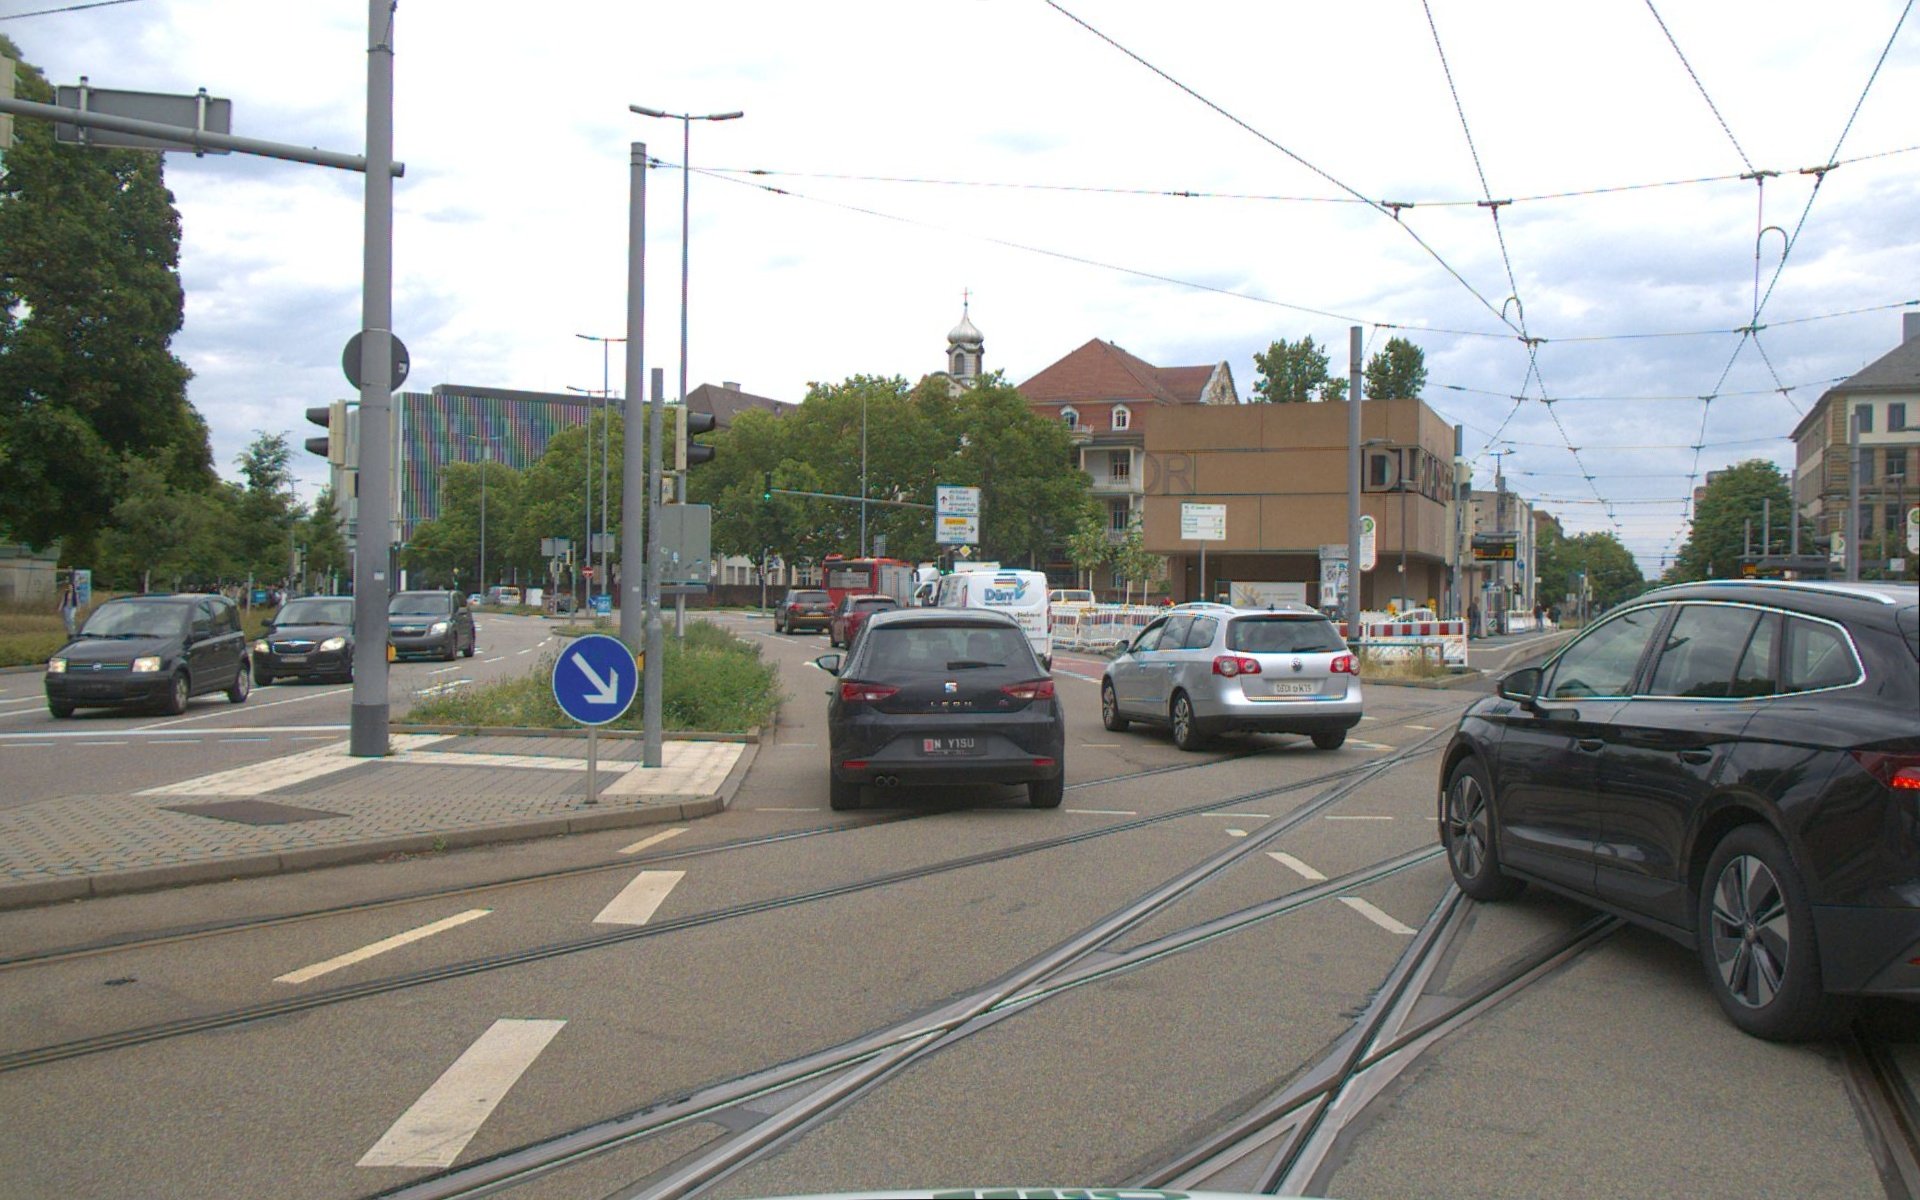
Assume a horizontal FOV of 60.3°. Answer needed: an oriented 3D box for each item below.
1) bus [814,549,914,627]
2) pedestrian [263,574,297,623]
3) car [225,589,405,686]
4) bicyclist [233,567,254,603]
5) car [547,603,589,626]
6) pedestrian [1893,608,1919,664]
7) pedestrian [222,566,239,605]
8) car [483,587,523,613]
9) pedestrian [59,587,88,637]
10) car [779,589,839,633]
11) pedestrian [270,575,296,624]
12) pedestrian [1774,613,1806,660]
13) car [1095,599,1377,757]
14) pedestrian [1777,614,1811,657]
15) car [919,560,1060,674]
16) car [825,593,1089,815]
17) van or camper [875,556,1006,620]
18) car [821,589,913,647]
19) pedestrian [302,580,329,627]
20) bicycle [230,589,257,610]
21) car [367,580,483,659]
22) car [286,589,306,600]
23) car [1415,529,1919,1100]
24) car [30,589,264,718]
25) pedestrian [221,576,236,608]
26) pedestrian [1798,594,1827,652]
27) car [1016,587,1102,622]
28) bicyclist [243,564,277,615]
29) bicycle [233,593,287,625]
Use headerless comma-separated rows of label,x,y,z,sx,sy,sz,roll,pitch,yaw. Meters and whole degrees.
bus,-4.378,-0.454,78.661,2.994,3.355,12.385,1,-1,5
pedestrian,-26.600,-0.056,64.748,1.029,1.875,0.864,1,-1,-11
car,-11.271,0.621,29.222,1.835,1.534,4.472,-1,0,-6
bicyclist,-31.847,-0.650,73.508,0.702,1.598,0.710,1,0,-12
car,-28.990,1.066,122.197,1.899,1.713,3.955,1,0,-32
pedestrian,28.956,1.092,50.302,0.985,1.674,1.019,1,-1,28
pedestrian,-39.330,-0.773,89.216,0.744,2.049,1.041,1,0,-20
car,-36.138,0.019,130.743,1.976,2.049,3.953,1,0,-34
pedestrian,-27.987,0.382,52.221,0.551,1.568,0.753,1,-1,-11
car,-5.818,0.413,63.450,1.957,1.593,4.195,1,0,-10
pedestrian,-26.009,-0.015,63.561,0.743,1.874,0.764,1,0,-11
pedestrian,29.118,1.267,58.042,0.998,1.603,1.006,1,-1,27
car,2.863,0.750,18.257,1.689,1.508,4.618,0,0,-9
pedestrian,28.314,1.193,56.133,0.998,1.427,1.006,1,-1,28
car,0.494,0.330,32.996,1.957,2.054,5.021,1,0,-9
car,-0.174,0.705,13.163,1.712,1.490,3.995,0,0,-6
van or camper,-1.081,-0.627,94.014,7.061,3.391,2.844,1,-2,-33
car,-2.818,0.529,49.297,1.828,1.628,4.186,1,0,-16
pedestrian,-26.050,0.162,66.835,0.877,1.875,0.665,1,-1,-11
bicycle,-31.853,-0.010,73.526,0.702,0.898,1.878,1,0,-12
car,-12.570,0.445,39.142,1.836,1.755,4.703,0,0,-8
car,-79.209,-0.663,197.271,1.694,1.287,3.304,0,0,-31
car,3.639,0.661,7.096,1.866,1.687,4.511,1,0,-4
car,-10.539,0.651,21.705,1.587,1.542,3.660,0,0,-6
pedestrian,-46.381,-0.506,104.940,0.744,2.049,1.041,1,-1,-20
pedestrian,27.371,0.749,53.093,0.808,1.840,1.019,1,-2,28
car,5.888,0.267,98.301,4.940,1.897,1.978,1,-4,-32
bicyclist,-25.953,-0.372,61.289,0.773,1.876,0.834,1,-1,19
bicycle,-25.946,0.342,61.331,0.772,1.179,1.907,1,-1,19
